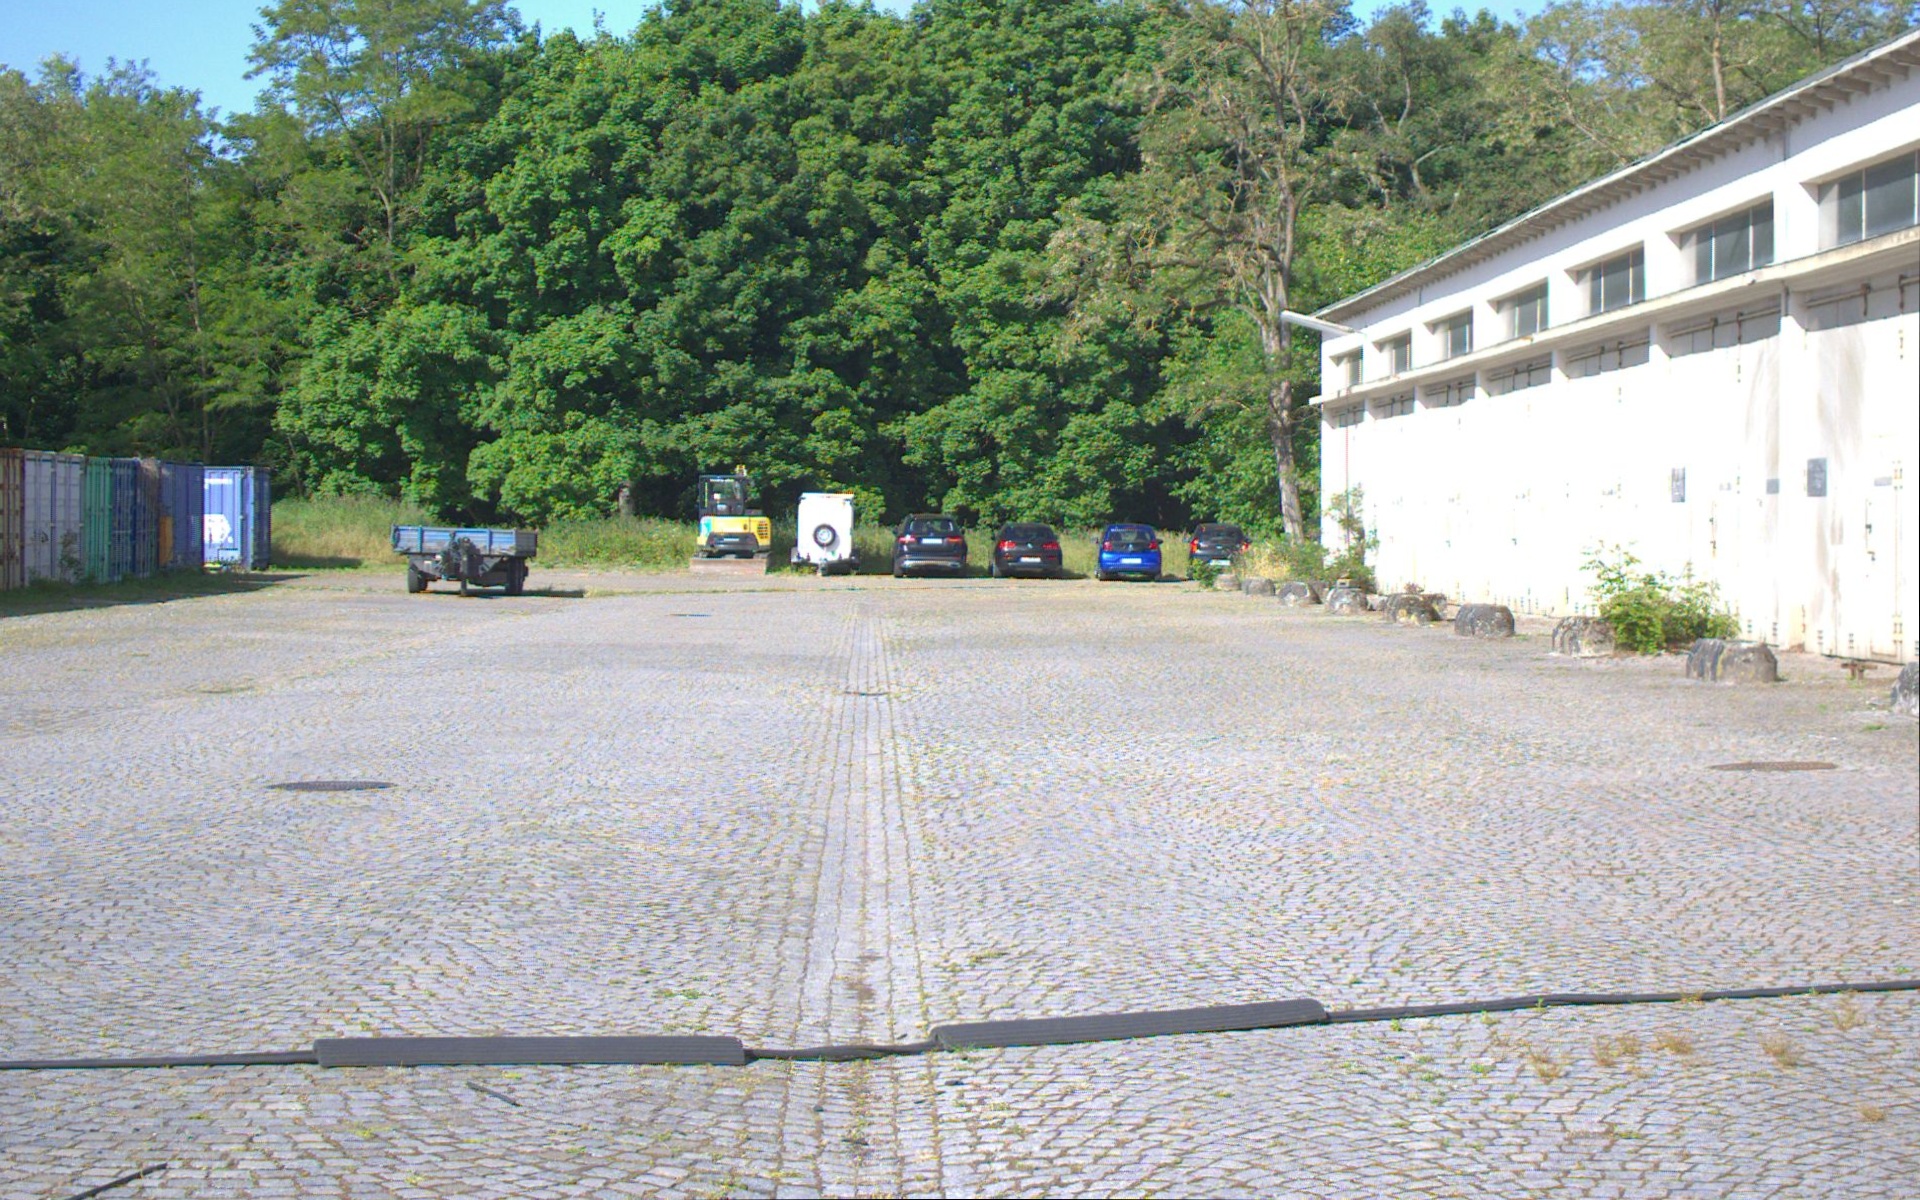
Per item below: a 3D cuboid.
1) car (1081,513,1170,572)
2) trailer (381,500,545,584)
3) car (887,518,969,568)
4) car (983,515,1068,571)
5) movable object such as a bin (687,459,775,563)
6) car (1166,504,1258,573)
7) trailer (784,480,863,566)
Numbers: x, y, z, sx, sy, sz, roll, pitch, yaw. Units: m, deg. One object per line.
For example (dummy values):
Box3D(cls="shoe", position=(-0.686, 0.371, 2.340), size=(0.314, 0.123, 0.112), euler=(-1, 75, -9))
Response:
Box3D(cls="car", position=(4.263, -1.500, 89.009), size=(1.993, 1.461, 4.001), euler=(0, 1, -2))
Box3D(cls="trailer", position=(-10.199, -1.211, 71.037), size=(2.791, 1.640, 5.621), euler=(0, 1, -2))
Box3D(cls="car", position=(-0.847, -1.484, 88.546), size=(1.993, 1.254, 4.001), euler=(0, 1, -2))
Box3D(cls="car", position=(1.671, -1.490, 88.969), size=(1.993, 1.419, 4.001), euler=(0, 1, -2))
Box3D(cls="movable object such as a bin", position=(-6.026, -2.335, 90.418), size=(2.231, 2.648, 4.001), euler=(0, 1, -4))
Box3D(cls="car", position=(6.593, -1.624, 90.297), size=(1.993, 1.766, 4.001), euler=(0, 1, -2))
Box3D(cls="trailer", position=(-3.545, -2.017, 89.715), size=(1.993, 2.155, 4.432), euler=(0, 1, -2))
